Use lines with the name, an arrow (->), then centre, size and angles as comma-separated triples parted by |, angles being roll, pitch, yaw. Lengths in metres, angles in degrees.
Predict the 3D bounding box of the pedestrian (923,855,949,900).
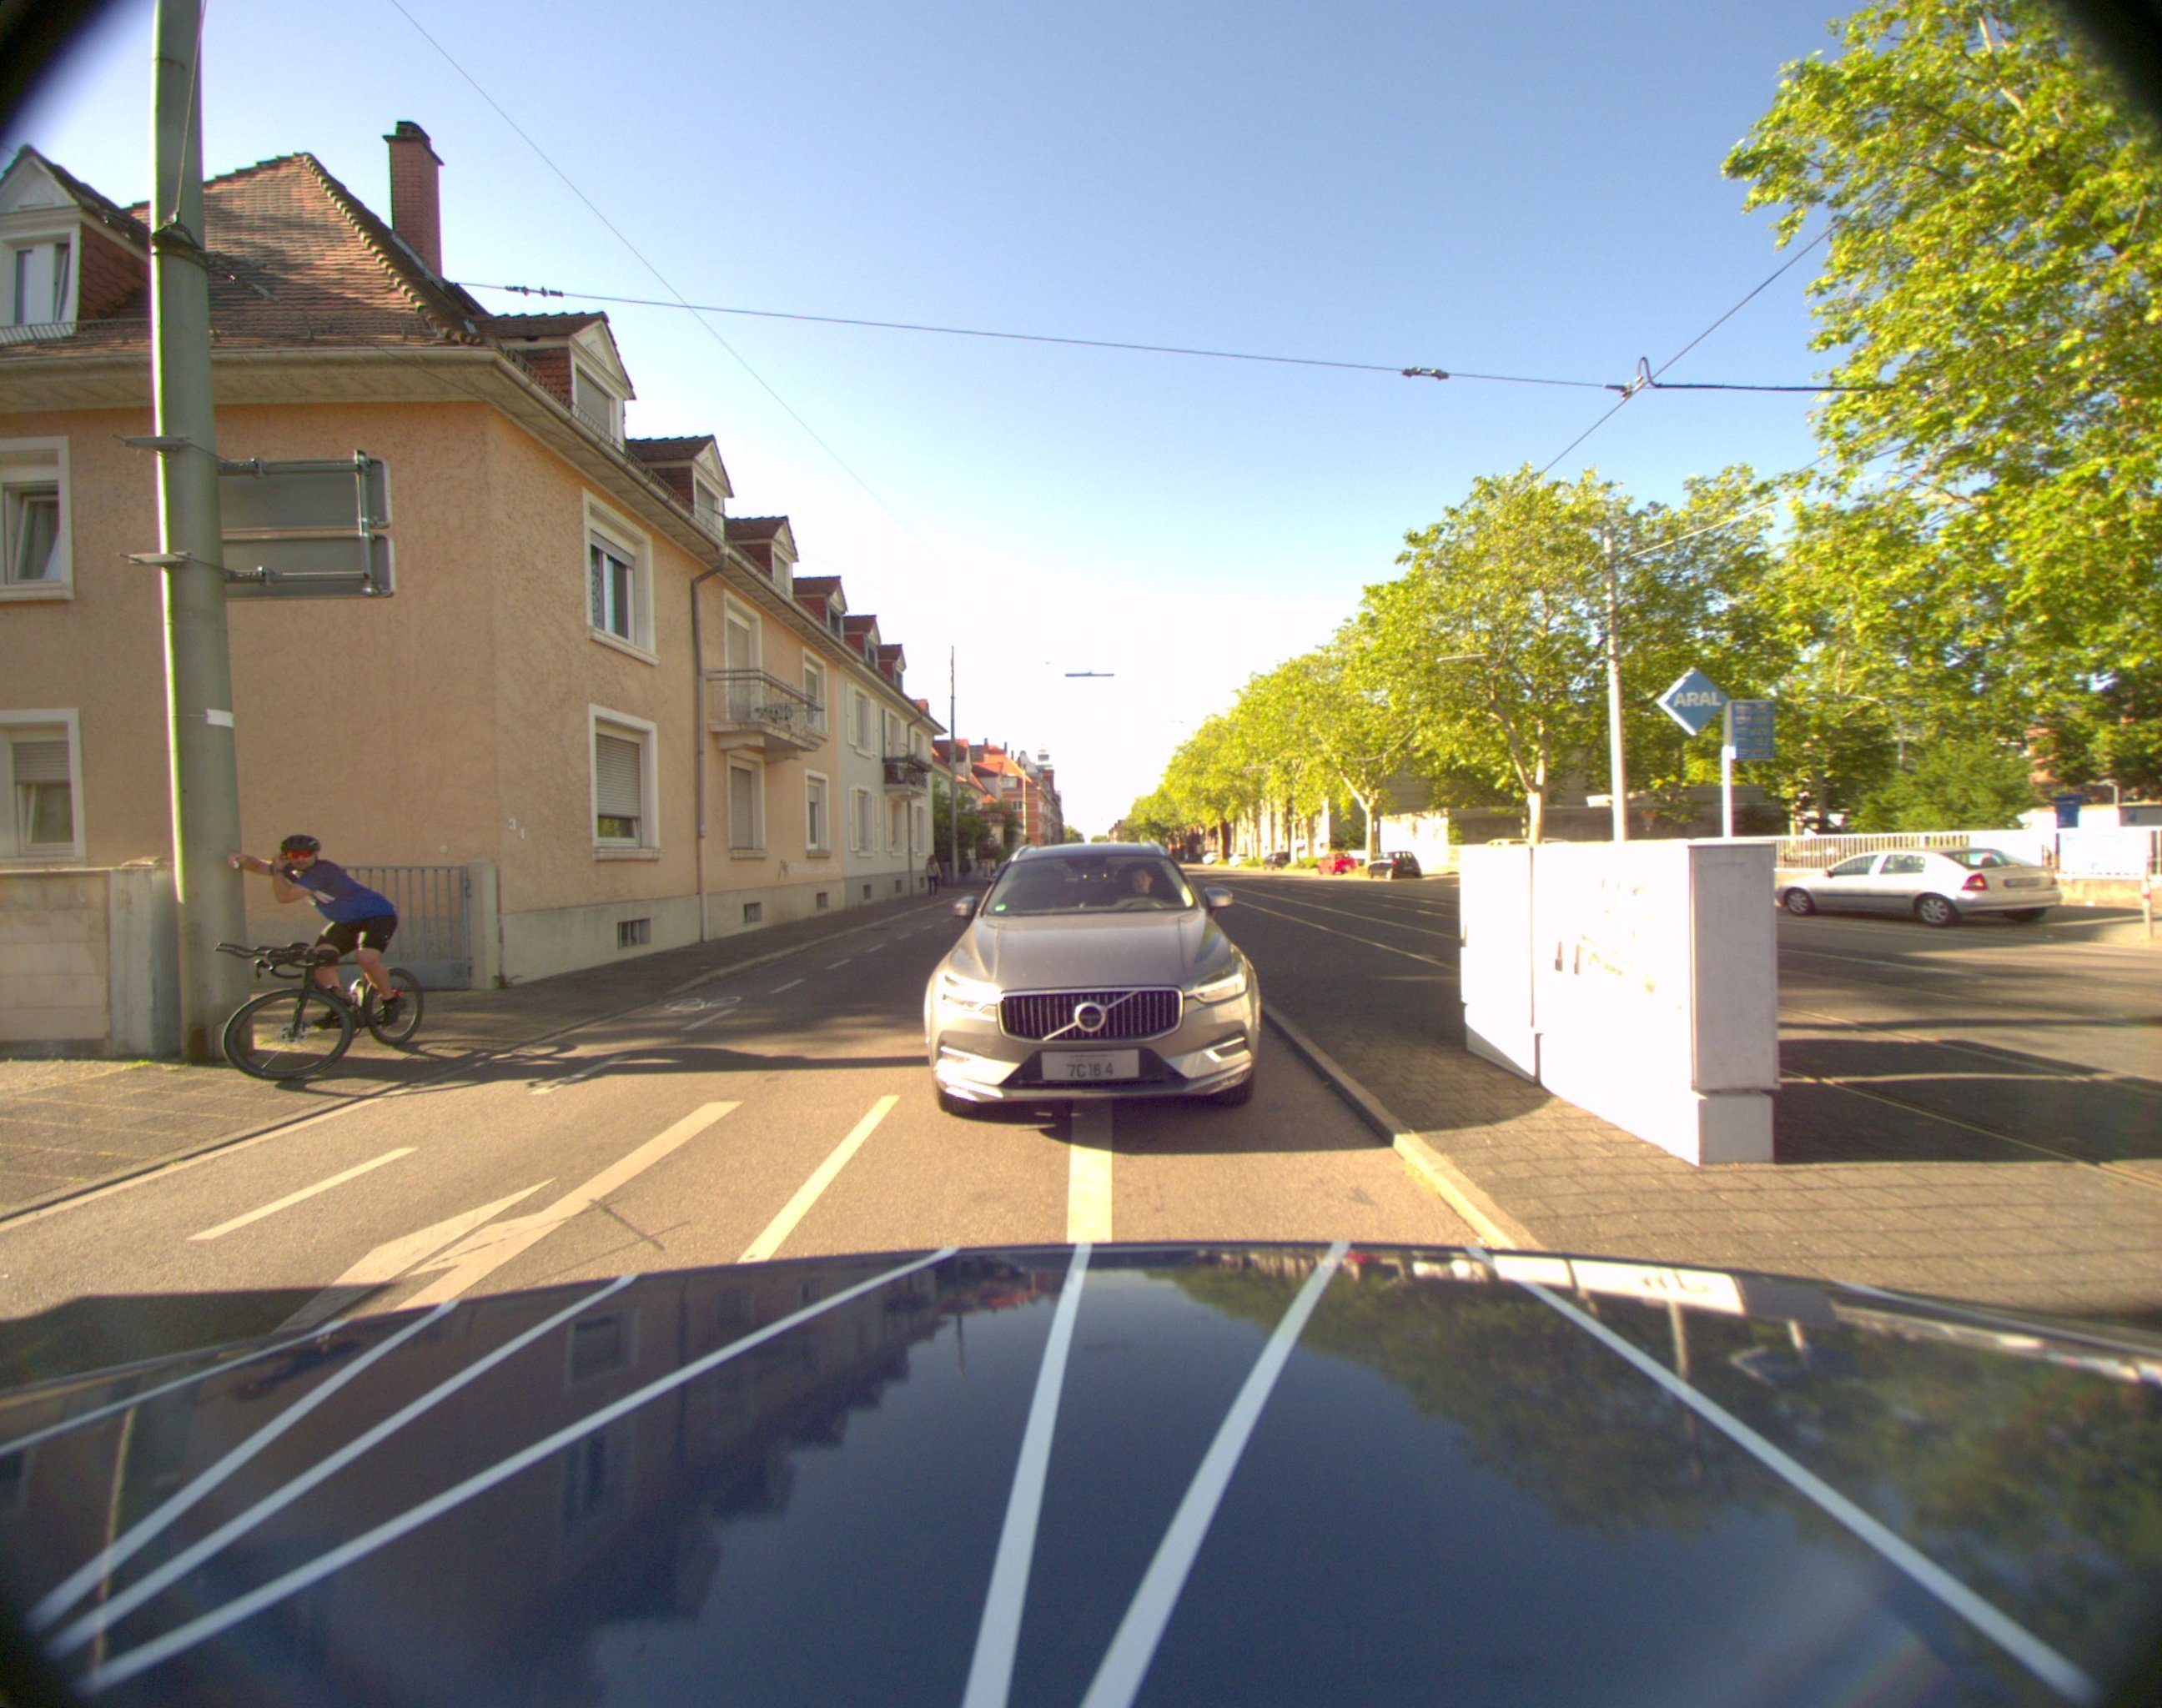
pedestrian -> -5.480, 0.878, 28.786 | 0.694, 1.652, 1.098 | -2, 1, 0

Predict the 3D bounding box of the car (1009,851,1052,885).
car -> -2.786, 0.721, 42.873 | 1.751, 1.767, 5.351 | -1, 0, 3

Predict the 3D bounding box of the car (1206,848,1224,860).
car -> 17.732, 0.002, 100.661 | 1.802, 1.504, 4.000 | -1, 0, 1

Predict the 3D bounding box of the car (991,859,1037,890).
car -> -3.208, 0.969, 37.014 | 1.647, 1.357, 3.868 | -1, 0, 4

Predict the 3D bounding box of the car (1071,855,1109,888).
car -> 0.466, 0.854, 38.123 | 1.762, 1.513, 4.101 | -1, 0, 1

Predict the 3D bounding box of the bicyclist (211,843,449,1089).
bicyclist -> -6.143, 0.863, 6.279 | 1.076, 1.854, 0.846 | 2, 1, 1

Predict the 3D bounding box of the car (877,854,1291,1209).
car -> 0.046, 0.852, 5.790 | 1.940, 1.650, 4.321 | -1, 0, 1

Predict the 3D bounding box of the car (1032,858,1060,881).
car -> -2.465, 1.091, 54.428 | 1.785, 1.468, 4.000 | -1, 0, 1

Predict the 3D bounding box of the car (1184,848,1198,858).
car -> 18.194, -0.205, 125.618 | 1.802, 1.504, 4.000 | -1, 0, 1

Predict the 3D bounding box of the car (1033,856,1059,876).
car -> -2.750, 0.952, 60.664 | 1.785, 1.468, 4.000 | -1, 0, 1

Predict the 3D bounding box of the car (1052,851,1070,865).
car -> -2.204, 0.460, 85.480 | 1.875, 1.477, 4.000 | -1, 0, 1

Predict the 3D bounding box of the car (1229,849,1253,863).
car -> 17.546, 0.232, 83.416 | 1.802, 1.489, 4.000 | -1, 0, 1

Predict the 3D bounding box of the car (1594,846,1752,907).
car -> 16.434, 0.579, 21.329 | 1.692, 1.455, 3.519 | -4, 0, 2

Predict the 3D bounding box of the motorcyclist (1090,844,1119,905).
motorcyclist -> 0.727, 0.626, 24.001 | 0.827, 1.832, 1.159 | -2, 1, 1

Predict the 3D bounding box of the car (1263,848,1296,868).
car -> 17.196, 0.295, 66.031 | 1.802, 1.652, 4.000 | -1, 0, 1

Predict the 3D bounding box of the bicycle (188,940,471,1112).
bicycle -> -5.939, 1.303, 6.164 | 0.572, 0.986, 1.698 | 2, 0, 1

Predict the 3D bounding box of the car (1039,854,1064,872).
car -> -2.560, 0.775, 66.817 | 1.875, 1.477, 4.000 | -1, 0, 1

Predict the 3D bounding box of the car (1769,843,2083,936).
car -> 16.249, 0.600, 14.980 | 1.795, 1.455, 3.966 | -4, 0, 2

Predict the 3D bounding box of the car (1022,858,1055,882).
car -> -2.681, 0.997, 48.292 | 1.785, 1.346, 4.000 | -1, 0, 1

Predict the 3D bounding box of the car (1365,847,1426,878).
car -> 16.885, 0.428, 40.969 | 1.826, 1.521, 3.653 | -2, 0, 1

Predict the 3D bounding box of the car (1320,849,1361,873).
car -> 16.945, 0.442, 49.739 | 1.641, 1.499, 3.046 | -1, 0, 1
